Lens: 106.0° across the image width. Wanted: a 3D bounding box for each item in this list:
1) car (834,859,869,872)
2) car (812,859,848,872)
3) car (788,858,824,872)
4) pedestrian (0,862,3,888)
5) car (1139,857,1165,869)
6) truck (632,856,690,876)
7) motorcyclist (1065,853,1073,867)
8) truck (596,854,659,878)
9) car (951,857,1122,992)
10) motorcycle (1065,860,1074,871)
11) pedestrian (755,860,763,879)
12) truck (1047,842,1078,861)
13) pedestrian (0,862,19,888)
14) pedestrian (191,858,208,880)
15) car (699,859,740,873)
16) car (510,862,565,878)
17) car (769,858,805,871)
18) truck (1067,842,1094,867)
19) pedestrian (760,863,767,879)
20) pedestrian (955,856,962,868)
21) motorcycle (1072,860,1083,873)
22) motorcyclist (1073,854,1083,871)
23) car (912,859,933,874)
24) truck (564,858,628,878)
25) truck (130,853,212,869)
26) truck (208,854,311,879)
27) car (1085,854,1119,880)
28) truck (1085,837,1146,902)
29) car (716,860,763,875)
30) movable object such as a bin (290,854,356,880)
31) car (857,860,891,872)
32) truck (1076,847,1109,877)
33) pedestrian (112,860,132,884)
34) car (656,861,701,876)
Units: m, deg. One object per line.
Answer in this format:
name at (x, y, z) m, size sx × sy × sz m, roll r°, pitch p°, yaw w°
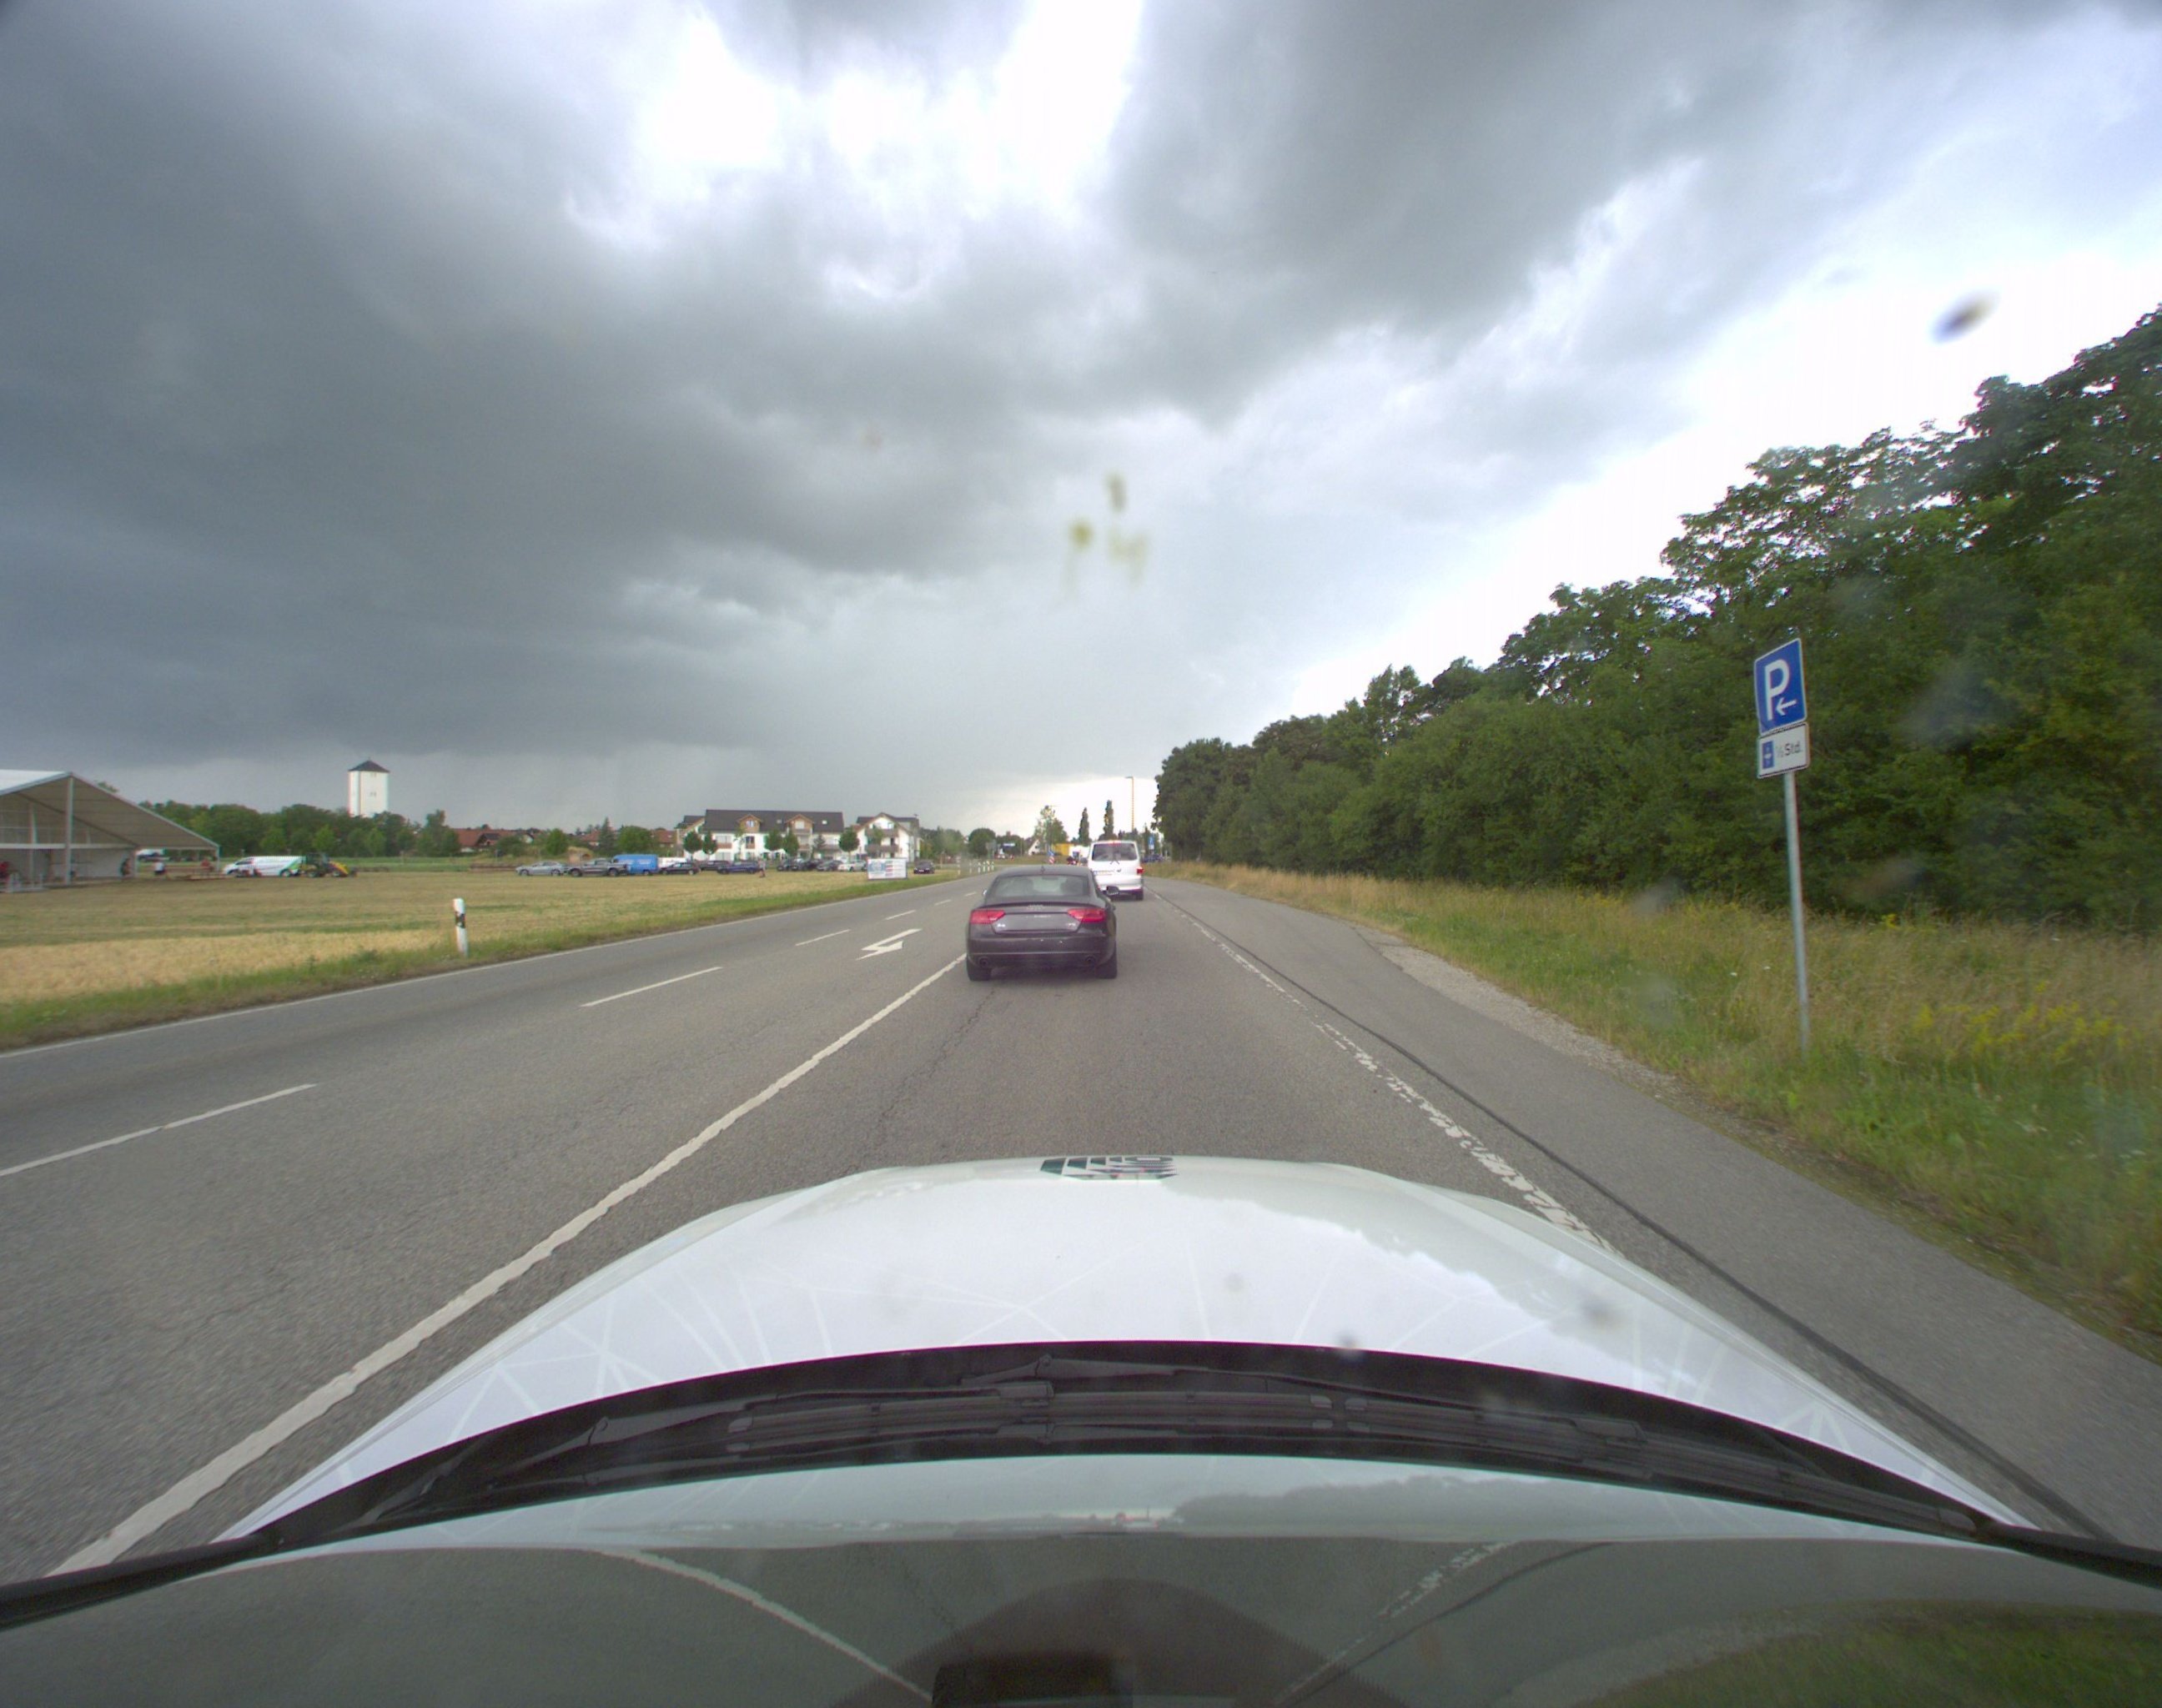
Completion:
car at (-27.873, 1.375, 98.990) m, size 1.977 × 1.446 × 4.233 m, roll -1°, pitch 0°, yaw 20°
car at (-30.609, 1.425, 99.471) m, size 1.977 × 1.536 × 4.233 m, roll -1°, pitch 0°, yaw 20°
car at (-33.721, 1.378, 100.055) m, size 1.977 × 1.629 × 4.233 m, roll -1°, pitch 0°, yaw 20°
pedestrian at (-74.171, 1.451, 55.397) m, size 0.732 × 1.779 × 0.755 m, roll 0°, pitch -1°, yaw -19°
car at (11.844, 1.431, 136.266) m, size 3.952 × 2.014 × 2.010 m, roll 0°, pitch 0°, yaw 21°
truck at (-47.902, 1.312, 93.049) m, size 5.586 × 2.196 × 2.588 m, roll 0°, pitch 0°, yaw -22°
motorcyclist at (-1.174, 0.624, 82.107) m, size 0.783 × 1.356 × 0.853 m, roll 0°, pitch 0°, yaw -1°
truck at (-47.519, 1.274, 85.558) m, size 5.468 × 2.446 × 2.377 m, roll 0°, pitch 0°, yaw -22°
car at (-0.438, 0.784, 11.070) m, size 1.868 × 1.454 × 4.178 m, roll -1°, pitch 0°, yaw 1°
motorcycle at (-1.172, 1.141, 82.168) m, size 0.941 × 1.019 × 2.283 m, roll 0°, pitch 0°, yaw -1°
pedestrian at (-31.495, 1.517, 79.632) m, size 0.548 × 1.786 × 0.676 m, roll 0°, pitch -1°, yaw -10°
truck at (-3.571, -0.462, 155.288) m, size 3.584 × 3.578 × 9.901 m, roll 0°, pitch 0°, yaw -16°
pedestrian at (-73.259, 1.454, 55.570) m, size 0.655 × 1.744 × 0.723 m, roll 0°, pitch -1°, yaw -19°
pedestrian at (-72.374, 1.229, 66.881) m, size 0.690 × 1.776 × 0.690 m, roll 0°, pitch -1°, yaw -18°
car at (-46.236, 1.544, 104.186) m, size 4.639 × 1.697 × 1.987 m, roll 0°, pitch 0°, yaw -19°
car at (-55.152, 1.607, 82.723) m, size 4.315 × 1.461 × 1.876 m, roll 0°, pitch 0°, yaw -25°
car at (-36.921, 1.290, 102.280) m, size 1.977 × 1.629 × 4.233 m, roll -1°, pitch 0°, yaw 20°
truck at (-0.127, 0.057, 93.456) m, size 2.622 × 2.737 × 5.857 m, roll 0°, pitch 0°, yaw -5°
pedestrian at (-31.391, 1.704, 80.602) m, size 0.591 × 1.555 × 0.622 m, roll 0°, pitch -1°, yaw -17°
pedestrian at (-15.614, 1.021, 103.617) m, size 0.695 × 1.586 × 0.661 m, roll -1°, pitch -1°, yaw 18°
motorcycle at (-0.278, 1.064, 68.451) m, size 0.917 × 1.094 × 2.189 m, roll 0°, pitch 0°, yaw 1°
motorcyclist at (-0.259, 0.688, 68.461) m, size 0.769 × 1.383 × 0.820 m, roll 0°, pitch 0°, yaw 1°
car at (-16.678, 1.278, 85.805) m, size 1.993 × 1.442 × 3.988 m, roll 0°, pitch 1°, yaw -9°
truck at (-48.372, 1.401, 81.335) m, size 5.252 × 1.920 × 2.095 m, roll 0°, pitch 0°, yaw -25°
truck at (-158.763, 1.209, 142.165) m, size 9.354 × 2.530 × 3.286 m, roll 0°, pitch 0°, yaw -13°
truck at (-75.184, 1.135, 74.710) m, size 6.075 × 2.217 × 2.698 m, roll 0°, pitch 0°, yaw -26°
car at (1.251, 0.738, 48.768) m, size 1.986 × 1.485 × 4.001 m, roll -1°, pitch 0°, yaw 1°
truck at (1.167, 0.484, 27.744) m, size 1.897 × 1.998 × 4.630 m, roll 0°, pitch 0°, yaw 2°
car at (-38.665, 1.518, 92.332) m, size 4.729 × 1.697 × 1.987 m, roll 0°, pitch 0°, yaw -19°
movable object such as a bin at (-68.696, 1.134, 73.885) m, size 4.006 × 2.243 × 1.869 m, roll 0°, pitch 0°, yaw -26°
car at (-24.997, 1.431, 98.529) m, size 1.977 × 1.446 × 4.233 m, roll -1°, pitch 0°, yaw 20°
truck at (0.879, 0.539, 58.324) m, size 2.185 × 2.014 × 5.087 m, roll 0°, pitch 0°, yaw 2°
pedestrian at (-72.025, 1.365, 61.146) m, size 0.695 × 1.776 × 0.686 m, roll 0°, pitch -1°, yaw -20°
car at (-44.480, 1.612, 90.140) m, size 4.167 × 1.519 × 1.987 m, roll 0°, pitch 0°, yaw -19°
